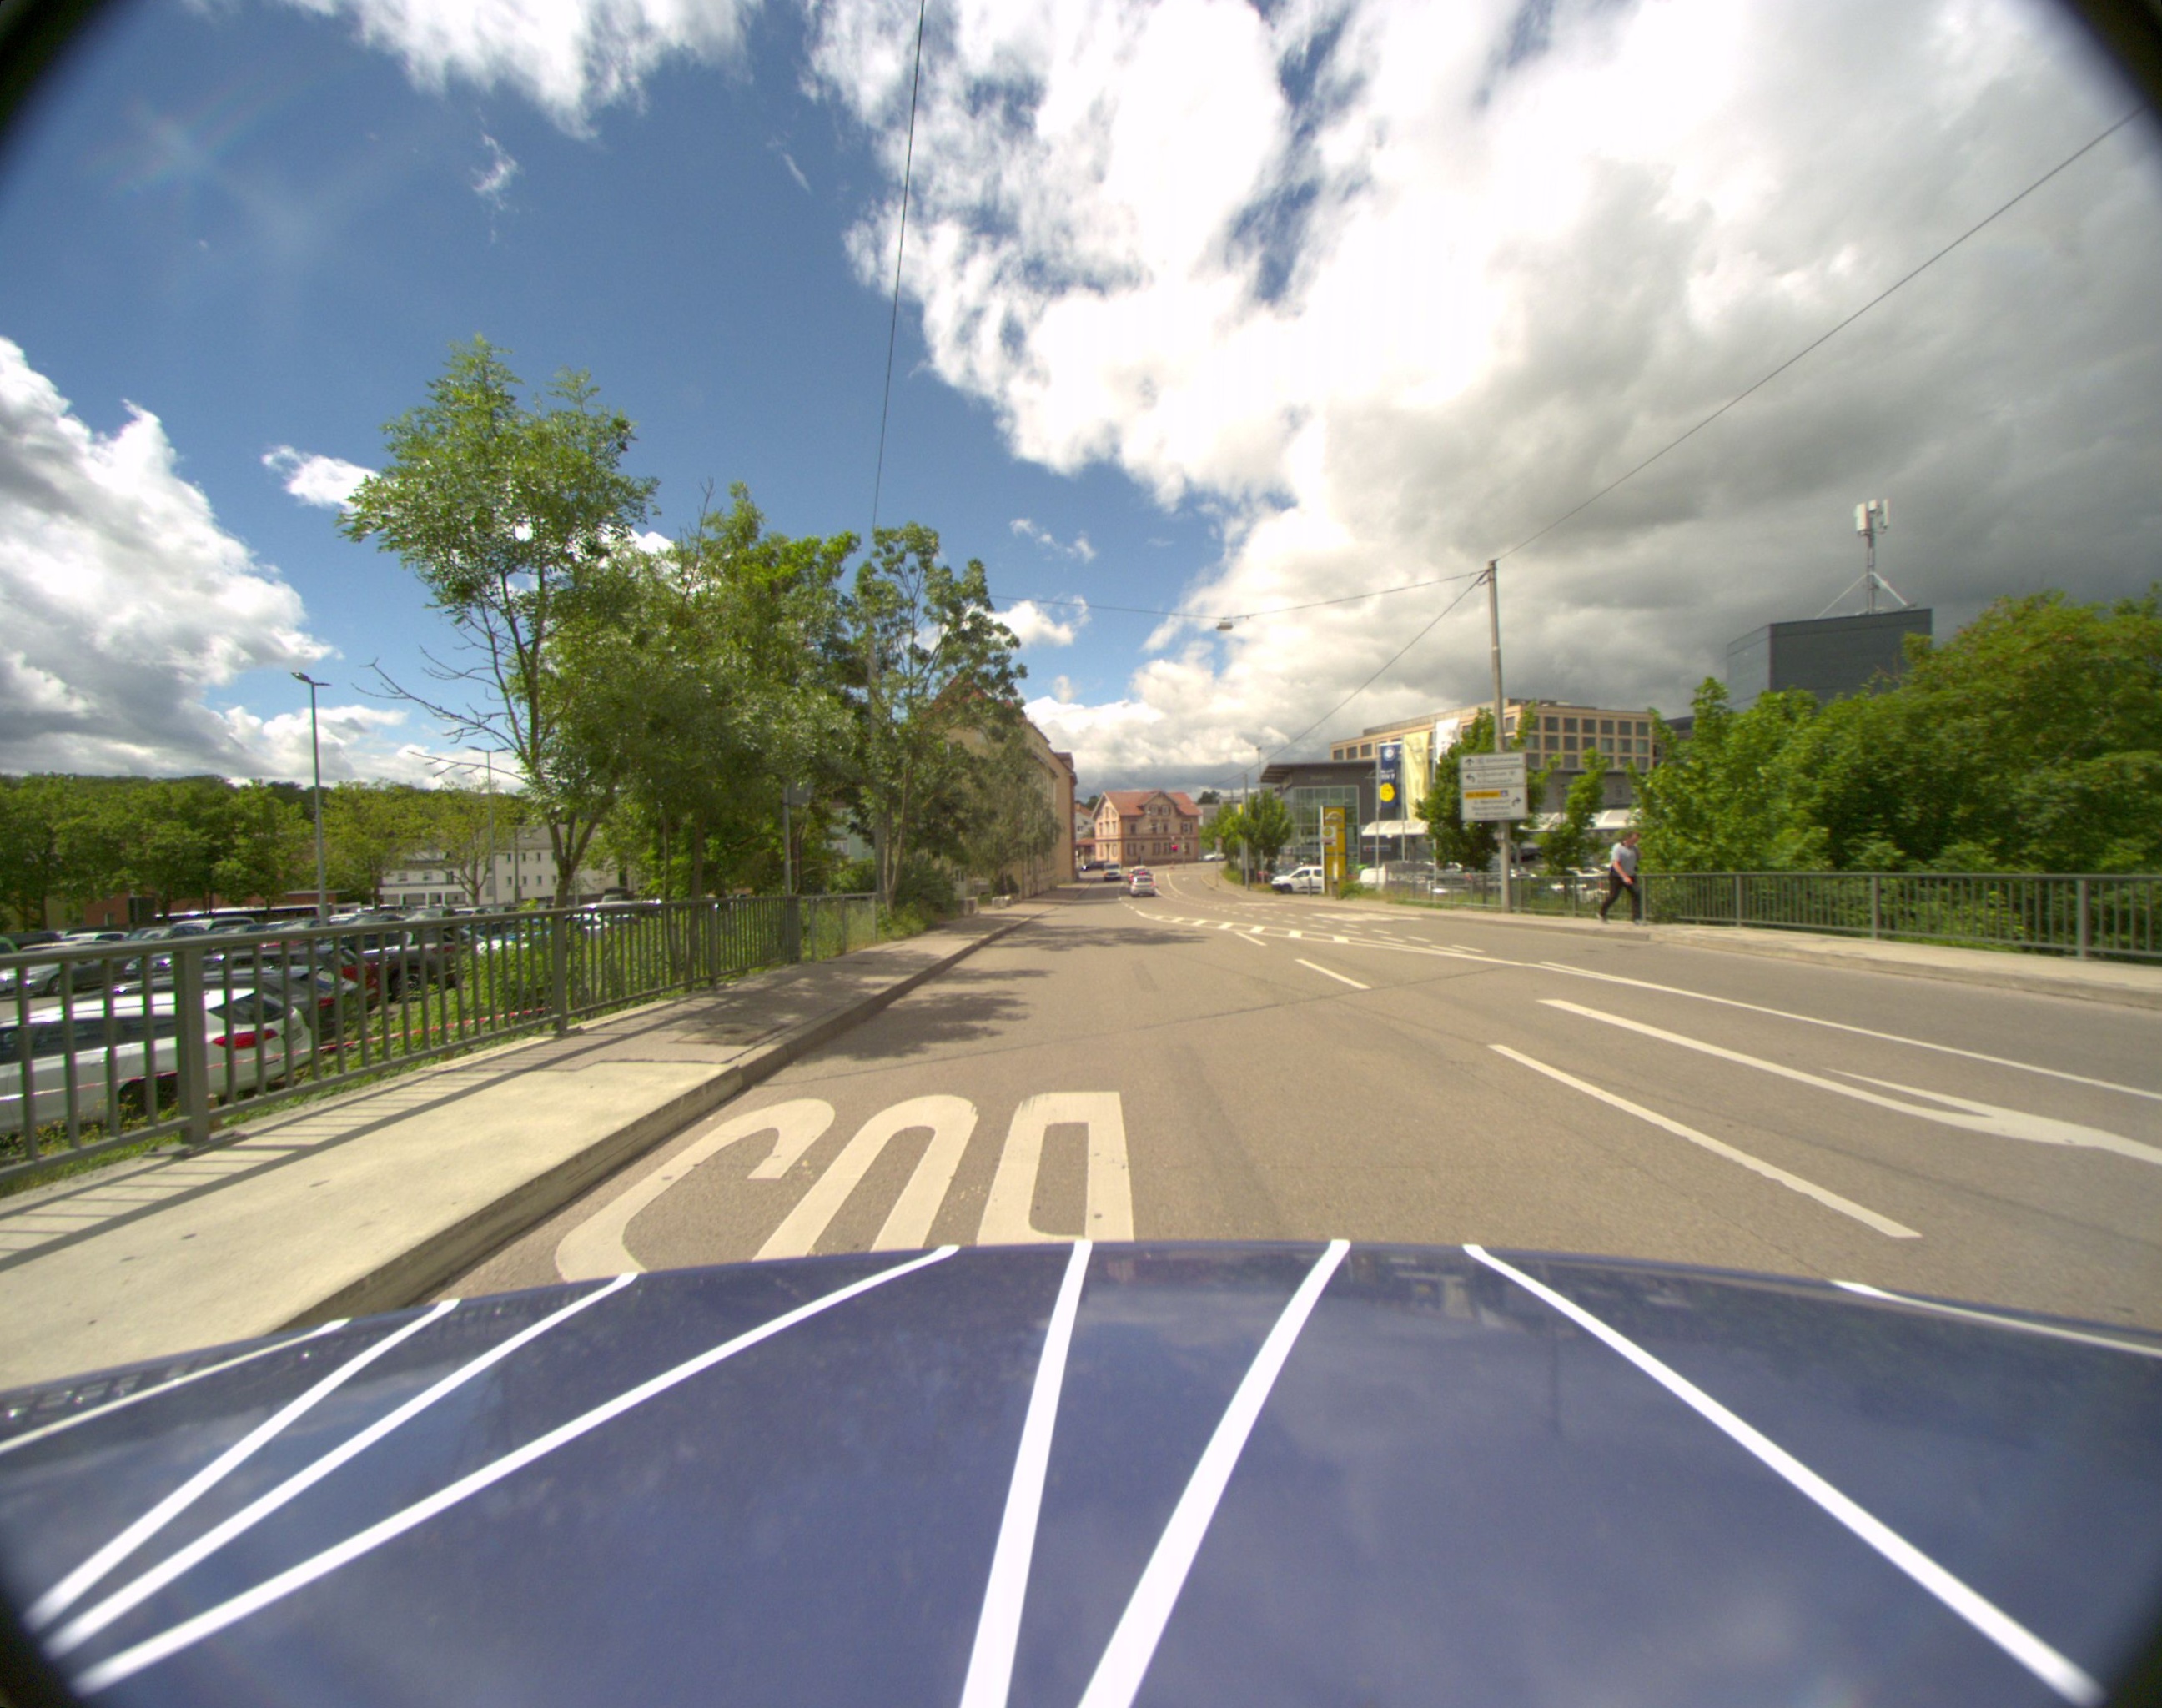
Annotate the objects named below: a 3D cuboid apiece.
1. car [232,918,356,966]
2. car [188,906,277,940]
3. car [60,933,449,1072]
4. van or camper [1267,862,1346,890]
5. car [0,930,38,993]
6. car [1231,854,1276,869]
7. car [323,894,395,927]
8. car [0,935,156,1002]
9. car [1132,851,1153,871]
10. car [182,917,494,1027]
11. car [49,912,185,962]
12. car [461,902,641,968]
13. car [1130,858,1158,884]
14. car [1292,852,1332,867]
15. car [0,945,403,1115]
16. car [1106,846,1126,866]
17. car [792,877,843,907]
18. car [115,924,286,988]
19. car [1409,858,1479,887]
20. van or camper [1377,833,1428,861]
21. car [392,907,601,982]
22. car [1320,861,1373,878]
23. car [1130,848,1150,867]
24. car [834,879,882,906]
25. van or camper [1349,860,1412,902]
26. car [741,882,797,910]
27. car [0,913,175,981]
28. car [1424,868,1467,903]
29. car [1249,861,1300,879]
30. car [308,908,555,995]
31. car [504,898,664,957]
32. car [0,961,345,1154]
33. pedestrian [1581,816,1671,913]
[{"bbox_3d":[-30.083,3.316,29.215,1.504,1.255,3.994,-5,2,-18],"label":"car"},{"bbox_3d":[-46.569,3.763,41.807,1.874,1.440,3.710,-3,1,-25],"label":"car"},{"bbox_3d":[-14.623,2.552,13.880,4.356,1.660,1.868,-3,1,-28],"label":"car"},{"bbox_3d":[14.723,1.434,49.893,4.677,1.739,2.001,-1,0,7],"label":"van or camper"},{"bbox_3d":[-33.967,3.439,22.277,1.723,1.864,4.639,-5,2,-23],"label":"car"},{"bbox_3d":[17.499,0.745,77.339,4.216,1.489,1.813,-1,0,3],"label":"car"},{"bbox_3d":[-49.901,3.880,52.629,2.002,1.776,4.436,-5,2,-22],"label":"car"},{"bbox_3d":[-31.047,3.451,23.097,1.722,1.383,3.994,-5,2,-18],"label":"car"},{"bbox_3d":[5.567,0.608,68.530,1.722,1.572,4.251,-3,1,6],"label":"car"},{"bbox_3d":[-15.701,2.427,16.424,4.355,1.660,1.868,-3,1,-24],"label":"car"},{"bbox_3d":[-46.534,3.929,36.857,2.002,1.776,4.436,-5,2,-22],"label":"car"},{"bbox_3d":[-17.089,2.579,24.728,4.351,1.660,1.870,-2,1,-11],"label":"car"},{"bbox_3d":[4.556,1.217,55.132,1.723,1.572,3.999,-3,1,2],"label":"car"},{"bbox_3d":[21.330,0.481,70.268,3.323,1.365,1.518,-1,0,2],"label":"car"},{"bbox_3d":[-13.211,2.490,11.259,4.356,1.660,1.867,-3,1,-30],"label":"car"},{"bbox_3d":[3.853,0.171,84.645,1.998,1.981,4.989,-4,1,2],"label":"car"},{"bbox_3d":[-16.425,2.355,47.548,1.875,1.614,4.280,-2,0,-3],"label":"car"},{"bbox_3d":[-28.563,3.244,24.867,1.722,1.383,3.994,-5,2,-18],"label":"car"},{"bbox_3d":[20.584,1.024,43.035,4.007,1.458,1.813,-2,1,-35],"label":"car"},{"bbox_3d":[24.126,-0.490,57.179,1.998,2.002,4.686,-1,0,3],"label":"van or camper"},{"bbox_3d":[-16.798,2.566,22.084,4.351,1.660,1.870,-2,1,-11],"label":"car"},{"bbox_3d":[20.142,1.151,57.719,3.471,1.246,1.545,-1,0,2],"label":"car"},{"bbox_3d":[5.795,0.326,74.297,1.722,1.572,4.319,-5,1,6],"label":"car"},{"bbox_3d":[-13.884,2.369,47.462,1.875,1.442,4.280,-2,0,-3],"label":"car"},{"bbox_3d":[16.039,1.407,40.558,1.985,1.952,4.968,-2,0,35],"label":"van or camper"},{"bbox_3d":[-19.515,2.607,47.663,1.875,1.441,4.280,-2,0,-3],"label":"car"},{"bbox_3d":[-36.082,3.289,27.649,2.002,1.776,4.436,-5,2,-22],"label":"car"},{"bbox_3d":[17.837,1.505,37.179,1.813,1.458,4.006,-1,1,26],"label":"car"},{"bbox_3d":[16.386,1.366,64.520,3.858,1.489,1.813,-1,0,2],"label":"car"},{"bbox_3d":[-16.402,2.410,19.480,4.353,1.660,1.869,-3,1,-18],"label":"car"},{"bbox_3d":[-17.667,2.579,27.228,4.351,1.660,1.870,-2,1,-11],"label":"car"},{"bbox_3d":[-12.277,2.481,9.253,4.356,1.660,1.867,-3,1,-30],"label":"car"},{"bbox_3d":[10.782,0.209,15.074,0.998,1.826,1.037,-2,0,3],"label":"pedestrian"}]
